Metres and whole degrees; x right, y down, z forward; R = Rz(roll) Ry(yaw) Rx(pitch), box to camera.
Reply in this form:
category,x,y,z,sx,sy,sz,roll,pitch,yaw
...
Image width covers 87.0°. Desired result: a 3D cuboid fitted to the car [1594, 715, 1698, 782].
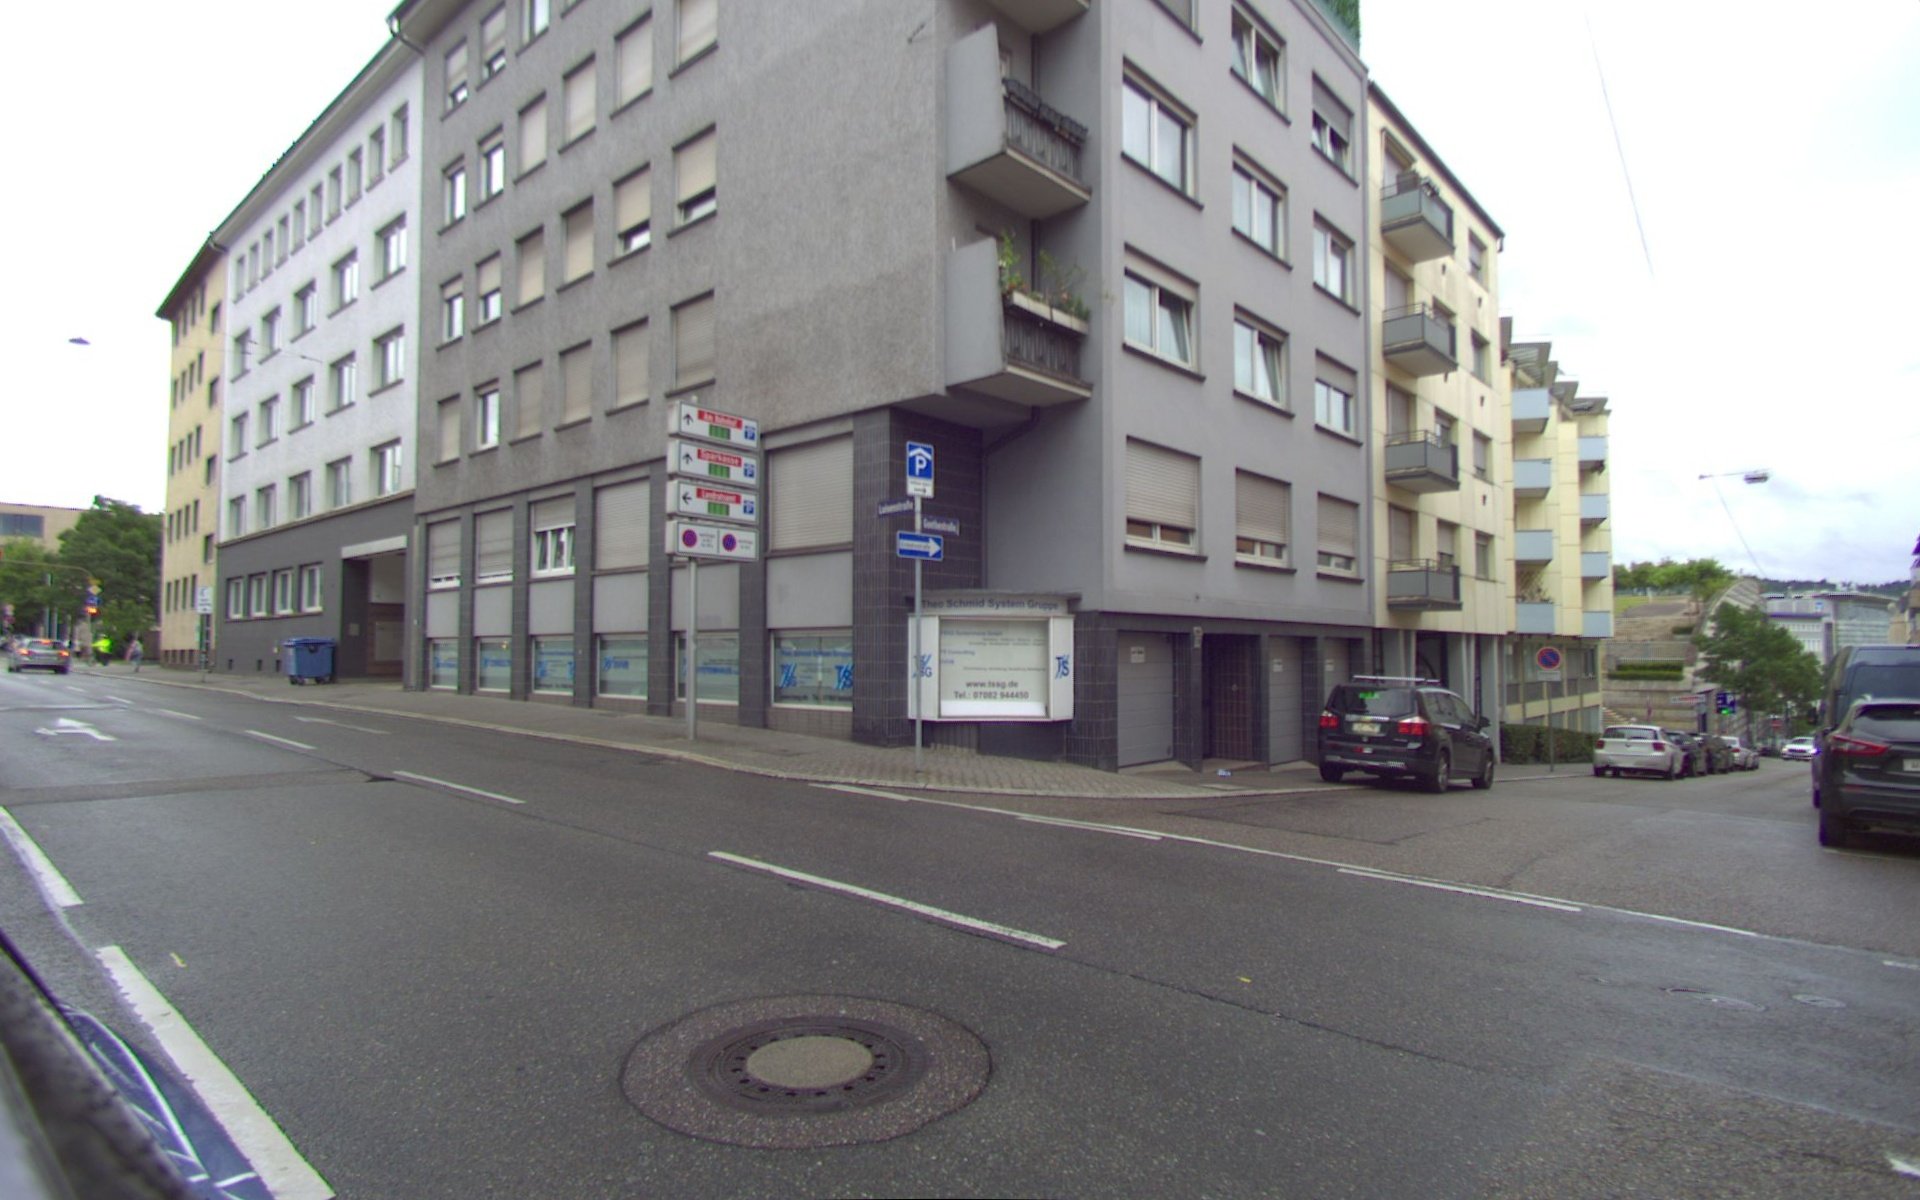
category,x,y,z,sx,sy,sz,roll,pitch,yaw
car,18.673,4.020,27.483,1.840,1.559,3.945,-2,-8,41

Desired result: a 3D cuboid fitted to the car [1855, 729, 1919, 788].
category,x,y,z,sx,sy,sz,roll,pitch,yaw
car,30.305,5.151,32.865,1.817,1.688,3.997,-2,-8,41

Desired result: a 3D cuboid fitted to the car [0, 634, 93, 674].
category,x,y,z,sx,sy,sz,roll,pitch,yaw
car,-45.752,2.658,50.245,1.902,1.728,3.877,-2,0,42

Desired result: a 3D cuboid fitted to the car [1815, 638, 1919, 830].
category,x,y,z,sx,sy,sz,roll,pitch,yaw
car,14.564,2.066,15.364,2.250,2.481,5.975,-2,-7,41

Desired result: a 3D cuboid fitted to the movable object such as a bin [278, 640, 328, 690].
category,x,y,z,sx,sy,sz,roll,pitch,yaw
movable object such as a bin,-18.812,1.846,28.988,1.096,1.343,0.933,-2,0,42

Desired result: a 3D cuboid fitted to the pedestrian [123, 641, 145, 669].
category,x,y,z,sx,sy,sz,roll,pitch,yaw
pedestrian,-34.406,2.294,42.173,0.407,1.158,0.575,-2,-6,42

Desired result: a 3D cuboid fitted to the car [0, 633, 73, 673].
category,x,y,z,sx,sy,sz,roll,pitch,yaw
car,-47.781,2.708,51.510,1.692,1.847,3.744,-2,0,42

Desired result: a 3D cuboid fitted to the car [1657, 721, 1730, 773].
category,x,y,z,sx,sy,sz,roll,pitch,yaw
car,26.331,5.287,36.298,1.747,1.627,3.945,-2,-8,41

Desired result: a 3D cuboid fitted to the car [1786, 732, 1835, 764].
category,x,y,z,sx,sy,sz,roll,pitch,yaw
car,50.177,8.763,59.709,1.932,1.688,3.995,-2,-8,43

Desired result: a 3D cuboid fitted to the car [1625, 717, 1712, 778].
category,x,y,z,sx,sy,sz,roll,pitch,yaw
car,21.885,4.533,31.211,1.747,1.627,3.945,-2,-8,41

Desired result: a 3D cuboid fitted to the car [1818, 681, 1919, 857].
category,x,y,z,sx,sy,sz,roll,pitch,yaw
car,10.346,1.808,10.686,1.842,1.589,4.098,-2,-8,41

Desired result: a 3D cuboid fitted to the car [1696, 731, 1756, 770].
category,x,y,z,sx,sy,sz,roll,pitch,yaw
car,32.941,6.495,43.502,1.747,1.476,3.945,-2,-8,41

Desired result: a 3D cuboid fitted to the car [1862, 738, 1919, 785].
category,x,y,z,sx,sy,sz,roll,pitch,yaw
car,34.538,5.974,37.417,1.722,1.506,3.997,-2,-8,41

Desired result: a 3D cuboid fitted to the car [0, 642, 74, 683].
category,x,y,z,sx,sy,sz,roll,pitch,yaw
car,-39.082,2.606,42.796,4.371,1.602,1.858,-1,-3,42

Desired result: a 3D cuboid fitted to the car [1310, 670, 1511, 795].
category,x,y,z,sx,sy,sz,roll,pitch,yaw
car,7.394,2.151,16.387,1.795,1.700,4.186,-2,-8,41

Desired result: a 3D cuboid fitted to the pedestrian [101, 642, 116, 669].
category,x,y,z,sx,sy,sz,roll,pitch,yaw
pedestrian,-44.211,2.900,52.571,0.535,1.380,0.436,-2,-6,43
